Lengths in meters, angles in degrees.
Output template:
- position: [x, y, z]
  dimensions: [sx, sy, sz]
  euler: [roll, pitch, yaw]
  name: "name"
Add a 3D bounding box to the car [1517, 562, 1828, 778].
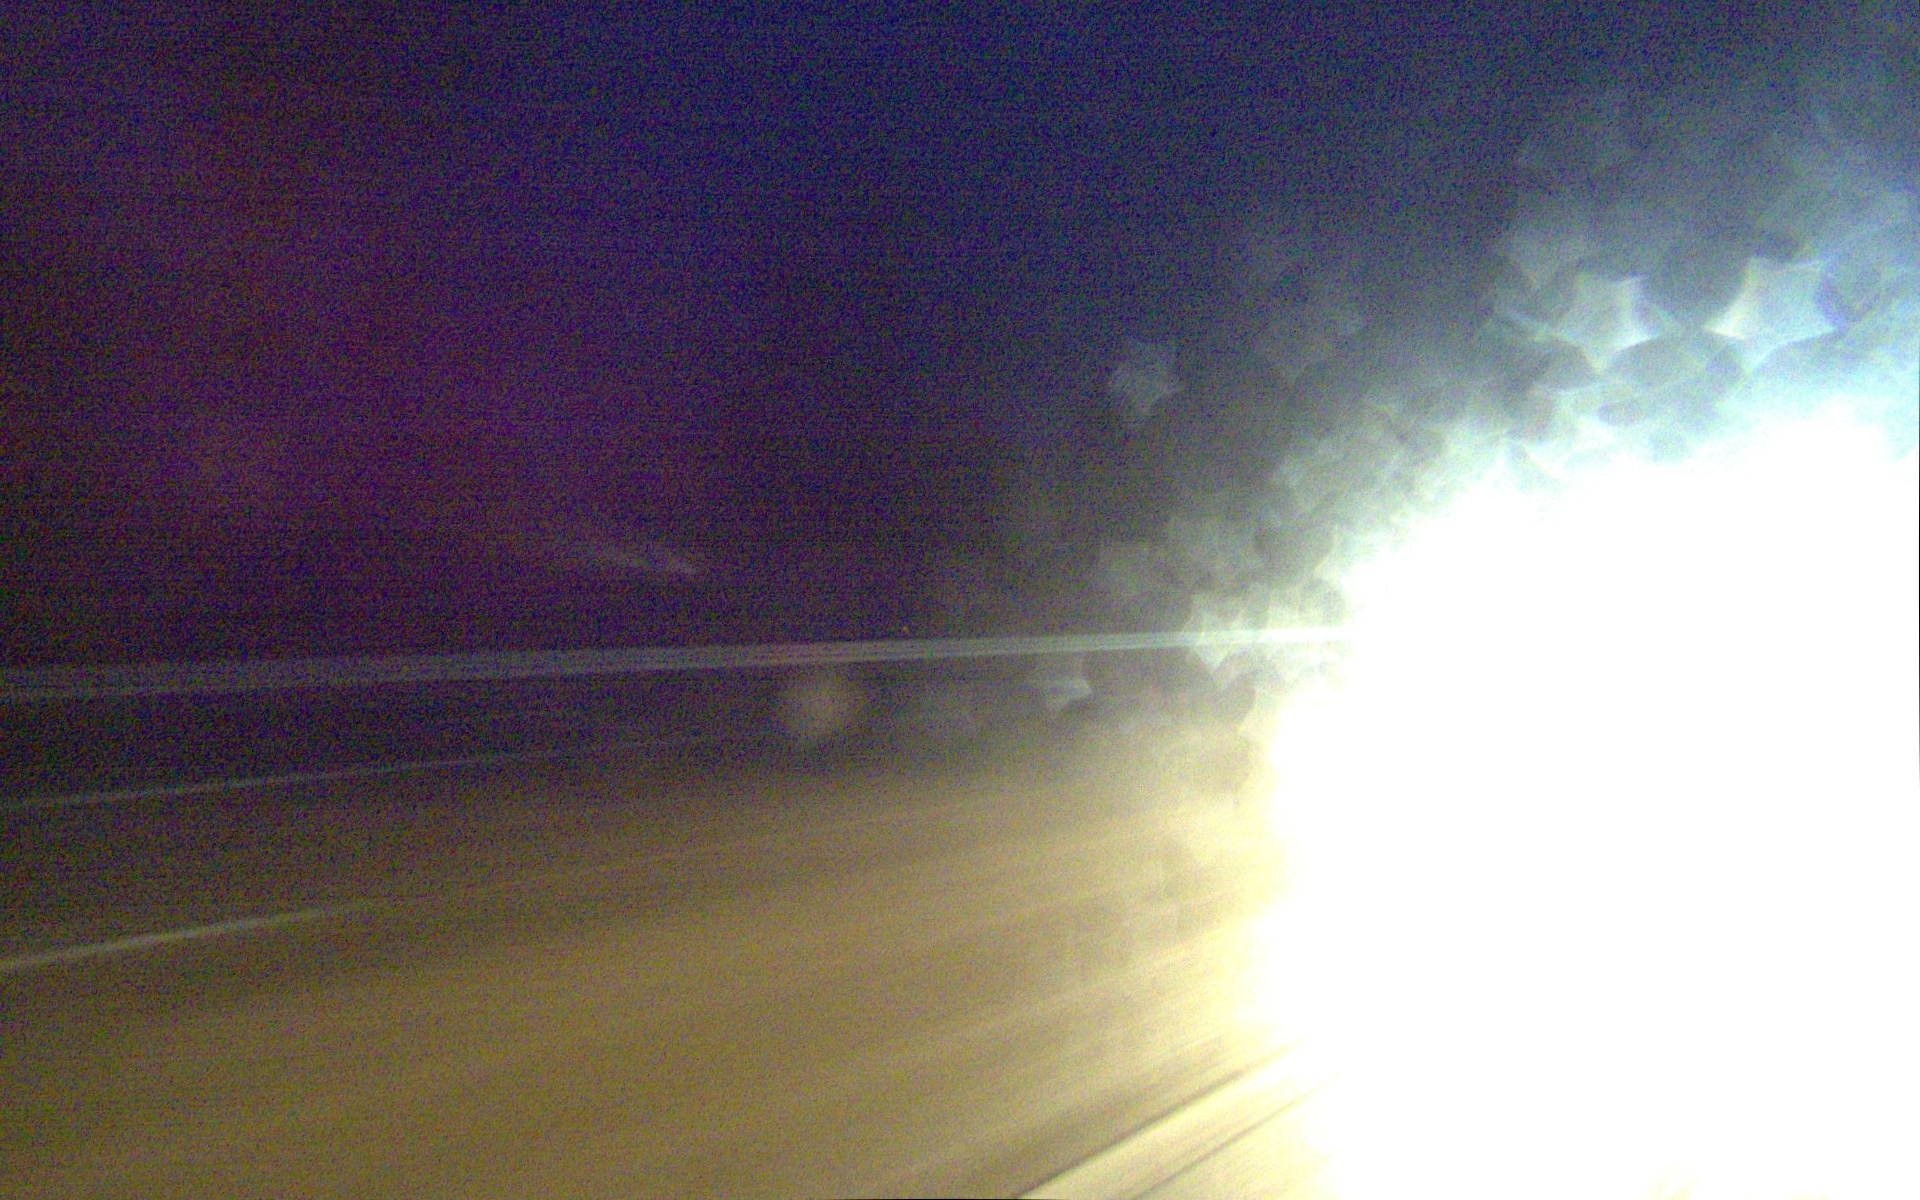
- position: [7.053, 0.536, 9.837]
  dimensions: [1.801, 1.638, 4.188]
  euler: [-1, -1, 45]
  name: "car"
